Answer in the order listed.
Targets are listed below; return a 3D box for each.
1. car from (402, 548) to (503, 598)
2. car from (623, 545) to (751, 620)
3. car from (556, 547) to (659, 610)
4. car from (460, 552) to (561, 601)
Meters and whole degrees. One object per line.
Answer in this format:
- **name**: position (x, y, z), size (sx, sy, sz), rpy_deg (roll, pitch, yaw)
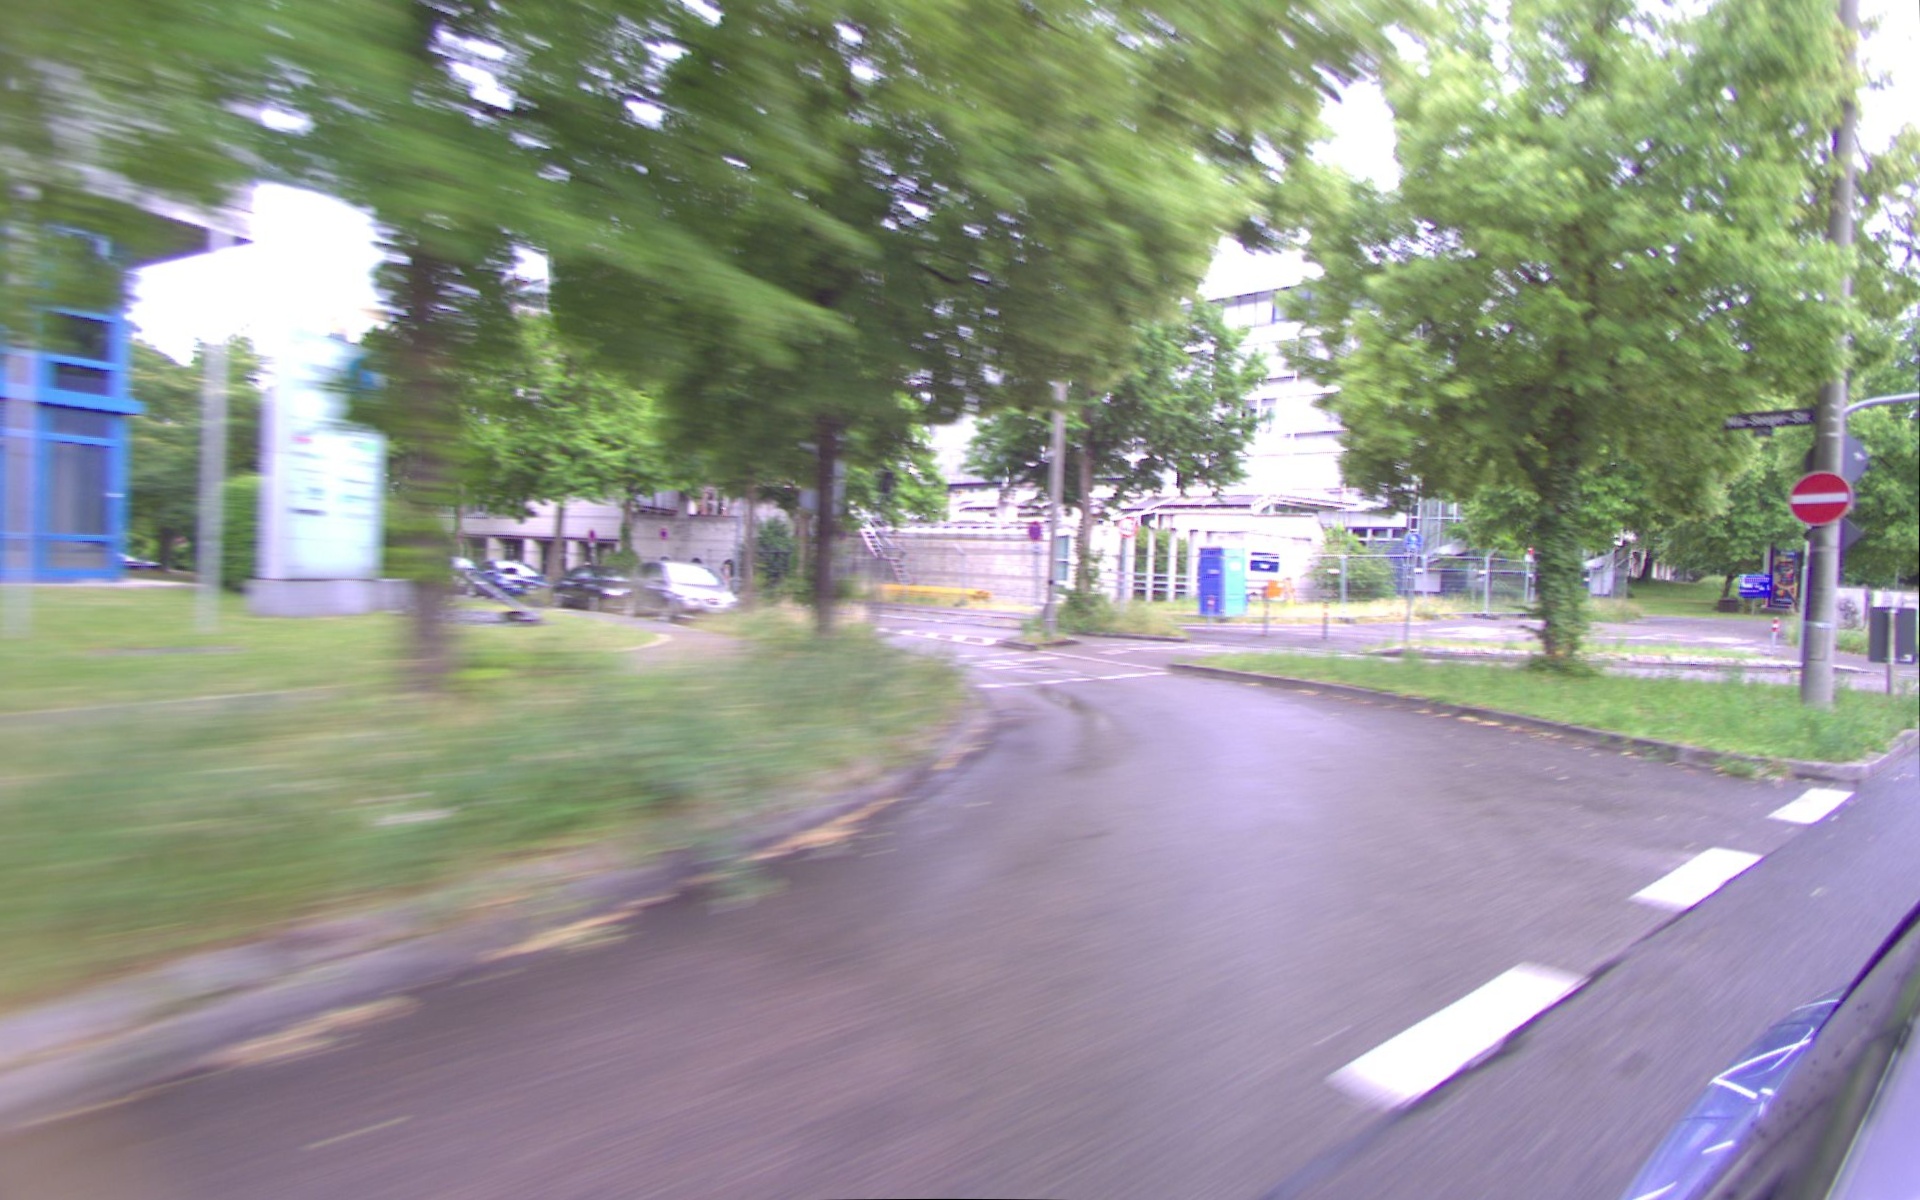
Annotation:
- **car**: position (-19.245, -1.027, 38.318), size (4.087, 1.641, 1.734), rpy_deg (4, 1, 36)
- **car**: position (-6.903, -0.480, 25.297), size (1.724, 1.662, 4.112), rpy_deg (3, 1, -35)
- **car**: position (-10.292, -0.669, 29.364), size (1.724, 1.598, 4.112), rpy_deg (3, 1, -35)
- **car**: position (-15.494, -0.830, 34.820), size (4.099, 1.451, 1.729), rpy_deg (4, 1, 44)
